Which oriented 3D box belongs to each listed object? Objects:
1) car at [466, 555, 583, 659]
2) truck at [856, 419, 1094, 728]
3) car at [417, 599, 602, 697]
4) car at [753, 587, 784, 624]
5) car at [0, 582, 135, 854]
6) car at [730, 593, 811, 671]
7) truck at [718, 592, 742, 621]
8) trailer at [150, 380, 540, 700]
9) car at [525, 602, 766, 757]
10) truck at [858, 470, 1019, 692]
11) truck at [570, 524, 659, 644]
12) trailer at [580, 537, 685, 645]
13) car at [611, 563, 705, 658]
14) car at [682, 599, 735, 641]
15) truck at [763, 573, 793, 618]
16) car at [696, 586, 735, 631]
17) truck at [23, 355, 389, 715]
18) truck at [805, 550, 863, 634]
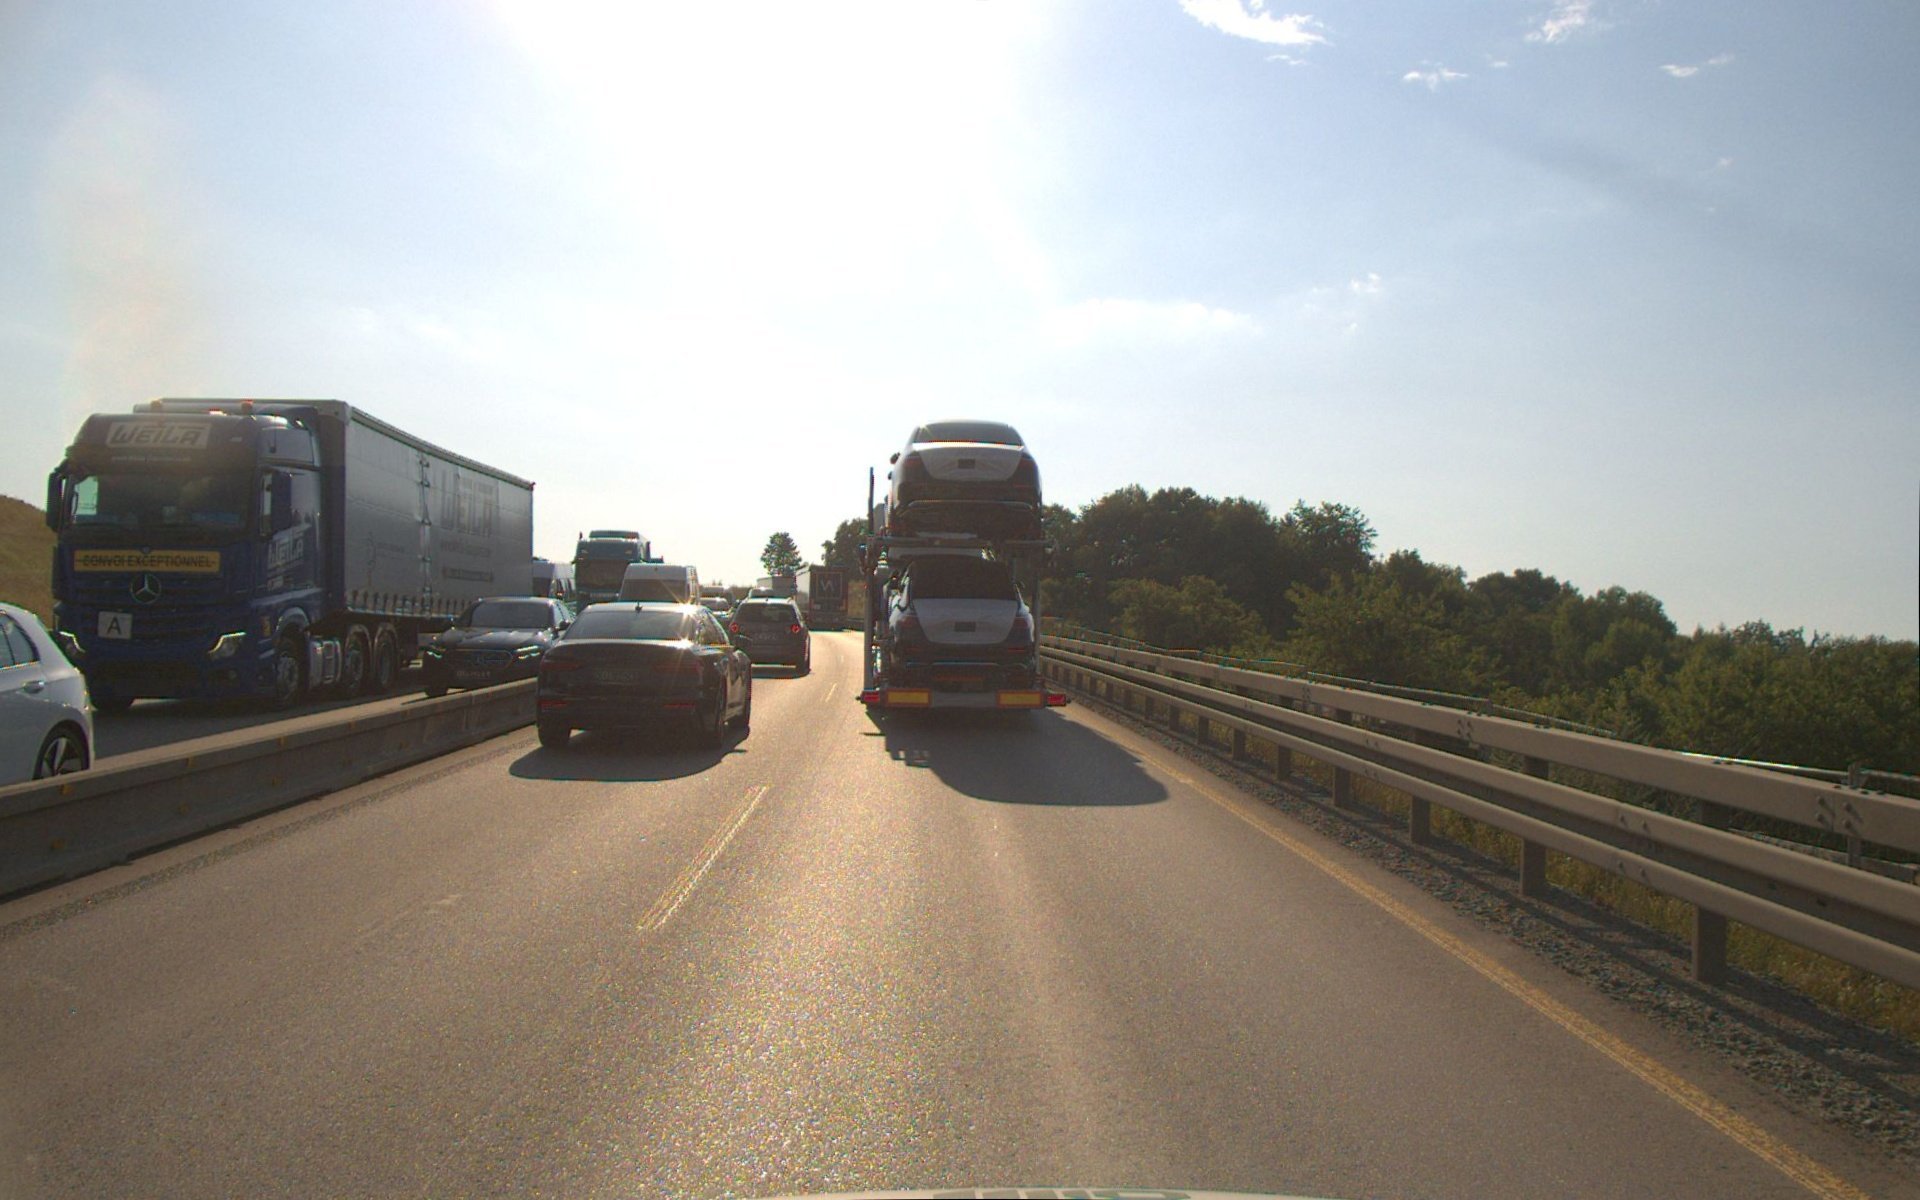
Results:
[{"bbox_3d":[-11.615,0.200,44.503,2.115,2.602,5.583,0,0,-5],"label":"car"},{"bbox_3d":[-0.102,-0.268,24.467,2.743,3.558,10.598,0,0,-3],"label":"truck"},{"bbox_3d":[-6.967,0.704,26.064,1.723,1.402,4.765,0,0,-2],"label":"car"},{"bbox_3d":[-13.626,0.385,118.108,1.883,2.536,5.404,0,0,-4],"label":"car"},{"bbox_3d":[-6.250,0.654,8.797,1.724,1.534,4.252,0,0,-2],"label":"car"},{"bbox_3d":[-4.134,0.675,36.583,1.659,1.624,3.996,0,0,-5],"label":"car"},{"bbox_3d":[-26.543,0.756,191.134,2.541,3.226,6.668,0,0,-6],"label":"truck"},{"bbox_3d":[-9.954,-0.737,29.104,2.261,4.203,14.589,0,0,-4],"label":"trailer"},{"bbox_3d":[-3.259,0.758,18.102,1.896,1.423,4.958,1,0,-3],"label":"car"},{"bbox_3d":[-0.676,-0.295,33.850,2.782,3.858,9.979,0,0,-4],"label":"truck"},{"bbox_3d":[-12.433,-0.522,59.985,2.454,4.137,5.877,0,0,-5],"label":"truck"},{"bbox_3d":[-13.170,-0.277,67.848,2.642,3.941,15.372,0,0,-5],"label":"trailer"},{"bbox_3d":[-8.589,0.300,47.628,2.017,2.544,6.768,0,0,-5],"label":"car"},{"bbox_3d":[-10.557,0.834,69.664,1.833,1.724,4.591,0,0,-4],"label":"car"},{"bbox_3d":[-15.636,-0.329,142.373,2.482,3.712,8.892,0,0,-6],"label":"truck"},{"bbox_3d":[-14.333,0.506,97.159,2.065,2.526,6.057,0,0,-7],"label":"car"},{"bbox_3d":[-9.658,-0.727,21.900,2.453,4.137,5.661,0,0,-3],"label":"truck"},{"bbox_3d":[-8.483,-0.479,110.336,3.224,5.328,9.917,0,0,-8],"label":"truck"}]
